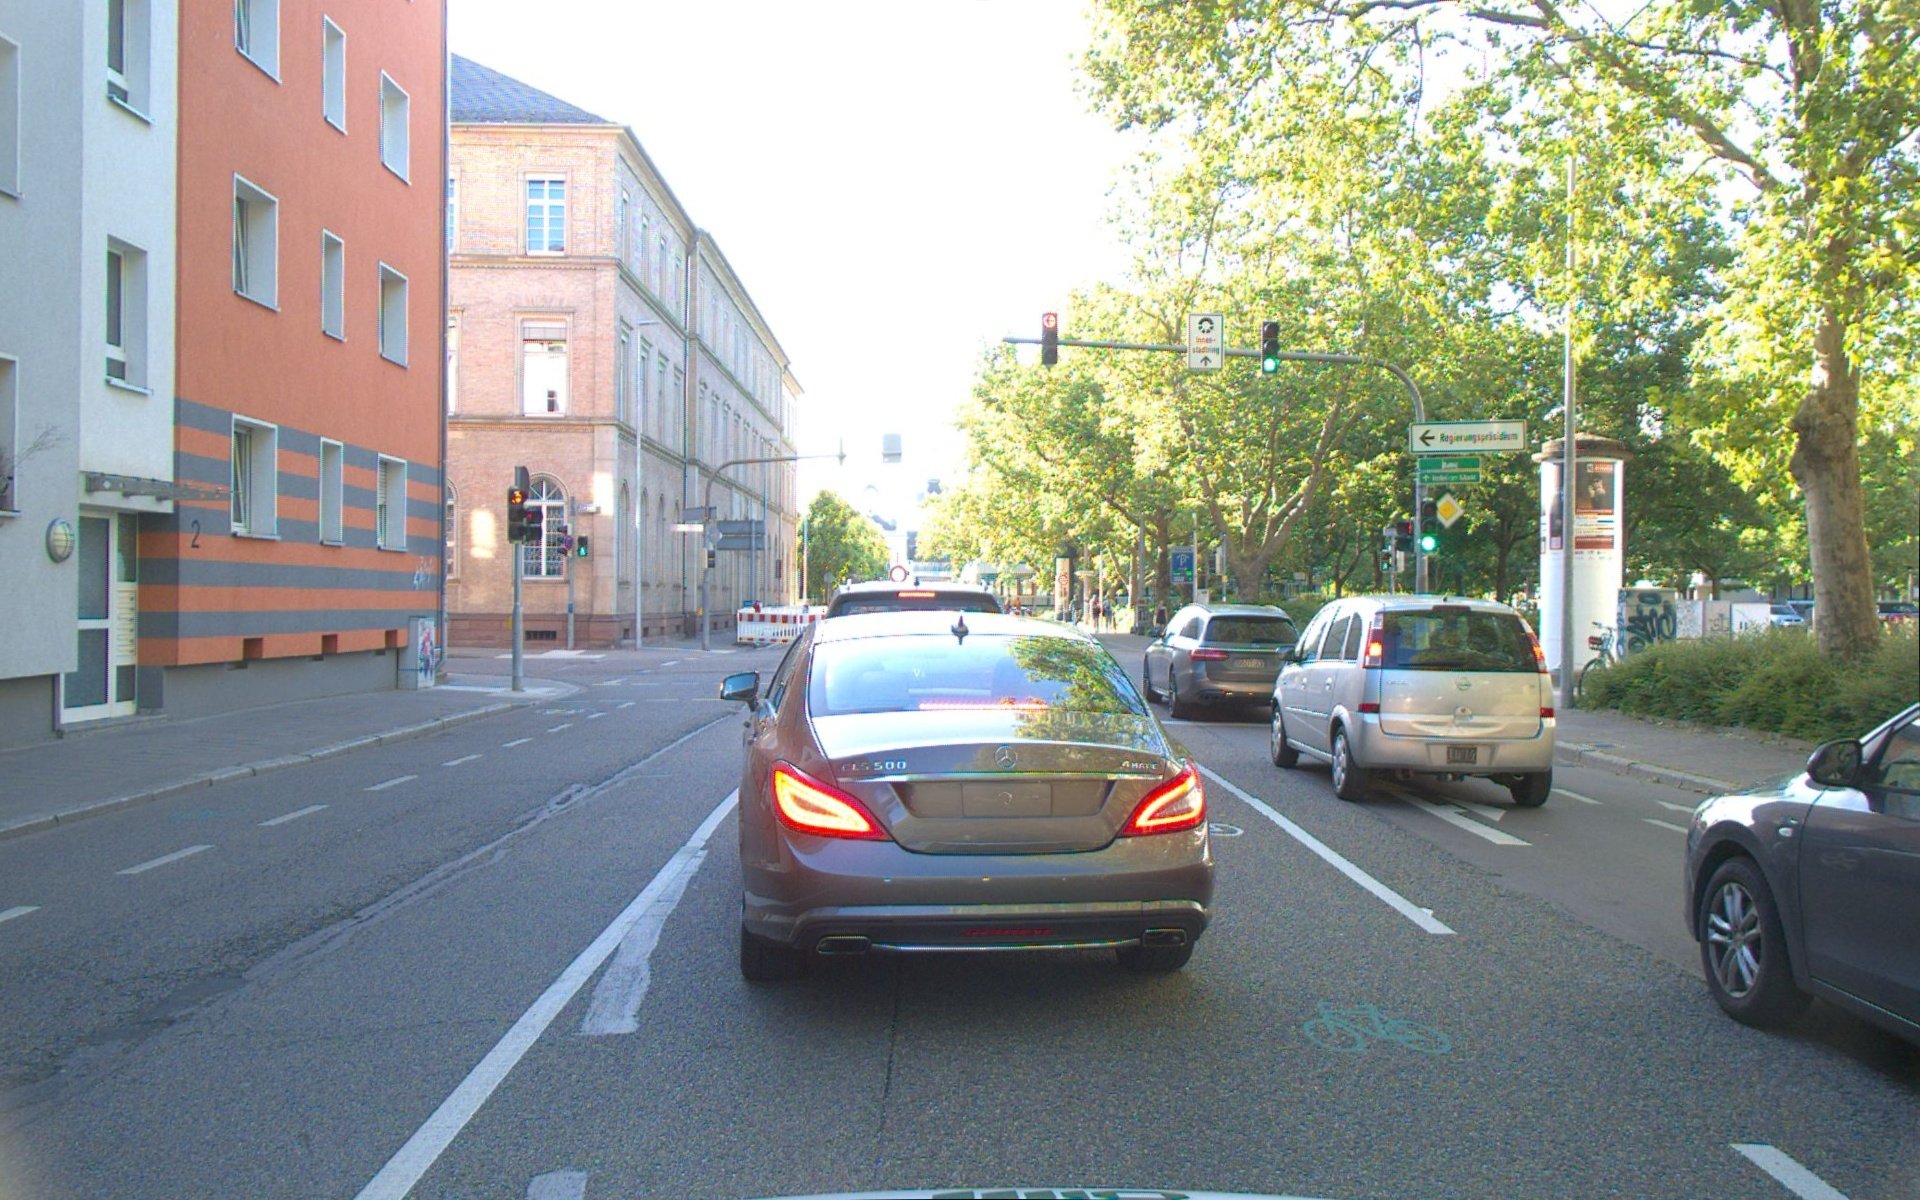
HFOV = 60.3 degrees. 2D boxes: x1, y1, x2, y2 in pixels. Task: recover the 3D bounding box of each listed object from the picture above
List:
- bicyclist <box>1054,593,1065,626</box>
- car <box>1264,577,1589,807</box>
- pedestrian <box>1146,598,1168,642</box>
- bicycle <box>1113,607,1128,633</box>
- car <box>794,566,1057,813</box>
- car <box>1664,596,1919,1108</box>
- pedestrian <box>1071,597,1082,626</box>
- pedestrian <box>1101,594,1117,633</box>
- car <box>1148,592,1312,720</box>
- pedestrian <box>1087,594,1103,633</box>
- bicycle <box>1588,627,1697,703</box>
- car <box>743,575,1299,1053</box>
[{"bbox_3d":[6.331,0.610,105.052,0.583,2.075,0.565,1,-1,-5],"label":"bicyclist"},{"bbox_3d":[3.827,0.699,14.202,1.696,1.691,3.680,1,0,-1],"label":"car"},{"bbox_3d":[7.064,0.720,59.306,0.623,1.572,0.909,1,0,-5],"label":"pedestrian"},{"bbox_3d":[7.477,0.919,77.104,0.472,1.223,1.606,1,0,-1],"label":"bicycle"},{"bbox_3d":[-0.270,0.622,13.588,1.823,1.712,3.999,1,0,-1],"label":"car"},{"bbox_3d":[3.747,0.773,4.772,1.670,1.545,3.999,1,0,-1],"label":"car"},{"bbox_3d":[6.310,0.611,89.346,0.545,1.535,0.345,1,-1,-5],"label":"pedestrian"},{"bbox_3d":[6.971,0.638,77.297,0.623,1.791,0.698,1,-1,-5],"label":"pedestrian"},{"bbox_3d":[3.581,0.705,22.517,1.568,1.576,3.680,1,0,-1],"label":"car"},{"bbox_3d":[6.321,0.622,77.382,0.623,1.828,0.698,1,-1,-5],"label":"pedestrian"},{"bbox_3d":[9.851,0.924,23.848,1.868,1.046,0.633,1,-1,-39],"label":"bicycle"},{"bbox_3d":[-0.032,0.692,7.461,1.826,1.545,3.993,1,0,-8],"label":"car"}]
